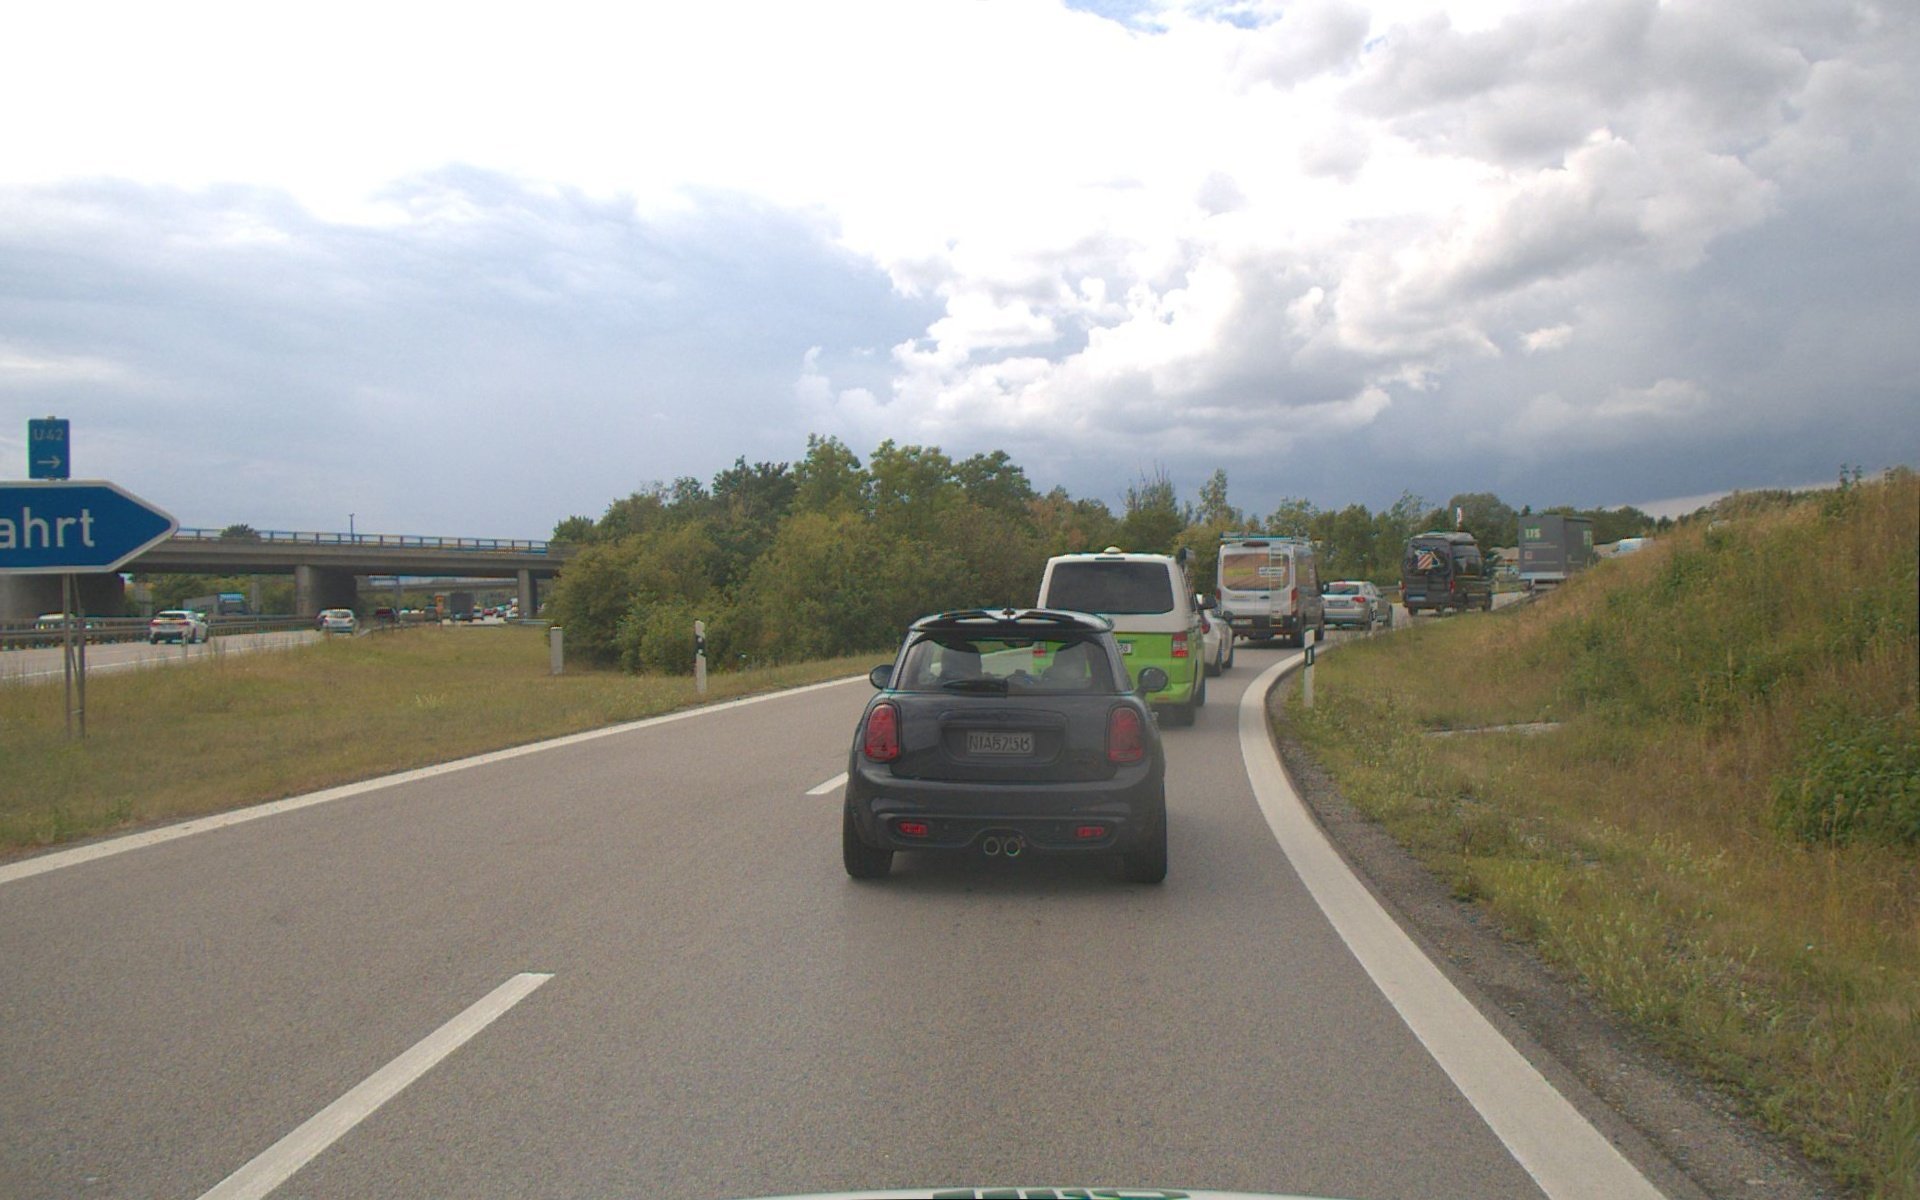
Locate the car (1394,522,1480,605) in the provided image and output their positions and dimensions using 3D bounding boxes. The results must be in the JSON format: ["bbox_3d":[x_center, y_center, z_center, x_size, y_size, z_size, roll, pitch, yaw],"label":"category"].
[{"bbox_3d":[17.211,-1.264,59.535,2.066,2.845,3.992,1,0,30],"label":"car"}]

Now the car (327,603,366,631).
[{"bbox_3d":[-35.541,0.983,95.915,1.688,1.545,3.985,-1,0,-14],"label":"car"}]

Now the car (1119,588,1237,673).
[{"bbox_3d":[3.982,0.524,29.773,1.724,1.423,3.728,-1,0,13],"label":"car"}]

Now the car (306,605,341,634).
[{"bbox_3d":[-45.895,1.399,119.312,1.962,2.049,3.980,1,-1,-17],"label":"car"}]

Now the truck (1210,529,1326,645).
[{"bbox_3d":[7.750,-0.322,41.189,2.133,2.705,5.111,0,0,19],"label":"truck"}]

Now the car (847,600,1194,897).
[{"bbox_3d":[0.404,0.741,9.983,1.691,1.438,3.726,0,0,3],"label":"car"}]

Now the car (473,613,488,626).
[{"bbox_3d":[-68.035,2.762,234.716,1.844,1.782,4.472,0,0,-13],"label":"car"}]

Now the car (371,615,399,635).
[{"bbox_3d":[-52.931,2.292,152.273,1.960,1.774,4.812,-1,0,-14],"label":"car"}]

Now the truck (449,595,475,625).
[{"bbox_3d":[-58.126,1.182,193.229,2.425,3.430,7.894,-1,-1,-14],"label":"truck"}]

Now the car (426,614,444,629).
[{"bbox_3d":[-63.752,2.642,200.976,1.814,1.789,4.320,0,0,-14],"label":"car"}]

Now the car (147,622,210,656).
[{"bbox_3d":[-35.108,1.727,74.385,1.806,1.478,4.361,-1,0,-15],"label":"car"}]

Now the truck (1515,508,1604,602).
[{"bbox_3d":[27.362,-1.978,75.336,2.192,3.975,5.991,0,-2,37],"label":"truck"}]

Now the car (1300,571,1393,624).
[{"bbox_3d":[11.824,-0.049,50.426,1.830,1.536,3.994,0,-1,28],"label":"car"}]

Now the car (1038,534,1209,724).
[{"bbox_3d":[2.067,0.319,19.953,1.746,2.049,4.003,0,0,10],"label":"car"}]
